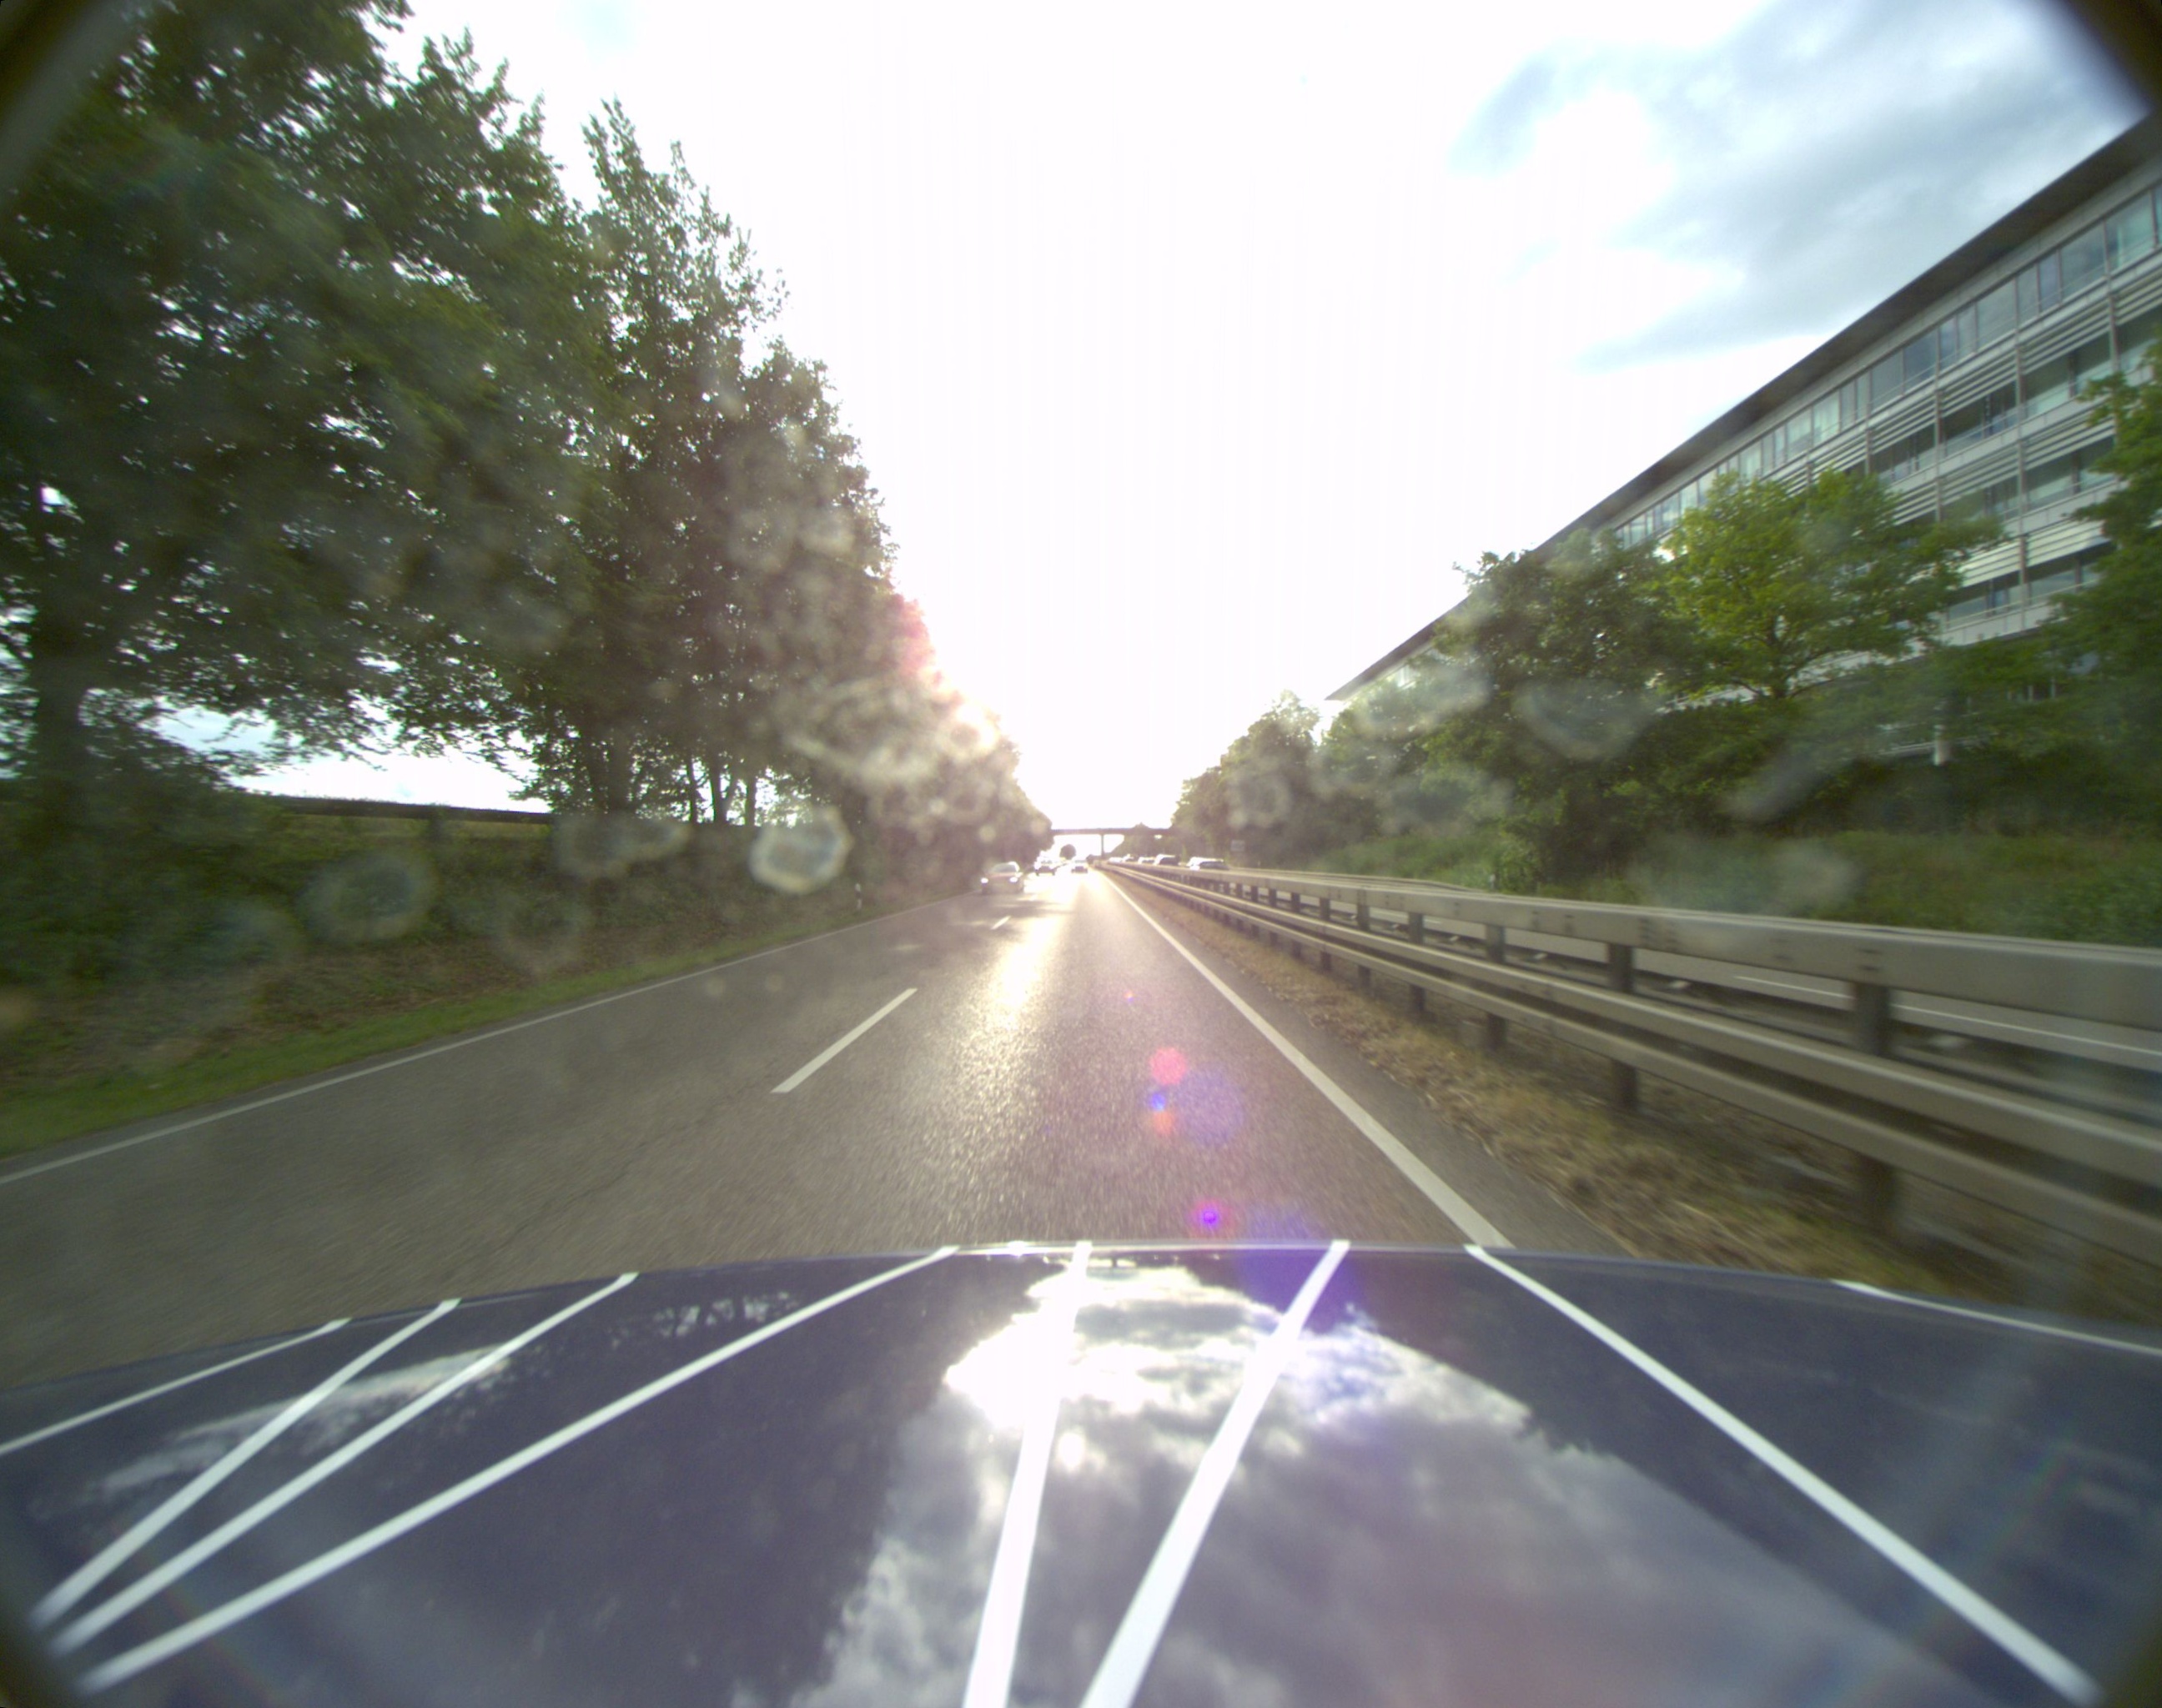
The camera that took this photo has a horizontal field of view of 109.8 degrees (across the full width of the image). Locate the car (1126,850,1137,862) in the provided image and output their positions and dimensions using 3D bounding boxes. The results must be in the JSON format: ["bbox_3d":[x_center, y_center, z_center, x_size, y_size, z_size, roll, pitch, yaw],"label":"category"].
[{"bbox_3d":[11.795,0.445,177.677,2.255,2.522,6.940,-1,0,0],"label":"car"}]

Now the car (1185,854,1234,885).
[{"bbox_3d":[6.522,0.772,38.952,1.747,1.449,4.311,1,0,0],"label":"car"}]

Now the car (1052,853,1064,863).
[{"bbox_3d":[-3.702,0.681,123.943,1.723,1.657,4.420,-2,-1,1],"label":"car"}]

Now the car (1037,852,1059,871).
[{"bbox_3d":[-3.122,0.725,72.998,1.723,1.657,4.420,-2,-1,1],"label":"car"}]

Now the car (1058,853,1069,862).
[{"bbox_3d":[-3.634,0.745,157.500,1.948,1.652,4.001,-2,-1,1],"label":"car"}]

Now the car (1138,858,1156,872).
[{"bbox_3d":[6.974,1.164,80.227,1.595,1.439,4.000,0,0,0],"label":"car"}]

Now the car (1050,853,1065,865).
[{"bbox_3d":[-2.848,0.598,92.712,1.558,1.346,3.408,-1,0,1],"label":"car"}]

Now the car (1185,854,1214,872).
[{"bbox_3d":[10.646,0.794,68.499,1.821,1.476,4.417,-2,0,0],"label":"car"}]

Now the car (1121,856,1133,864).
[{"bbox_3d":[7.851,1.075,130.197,1.680,1.344,3.831,-1,0,0],"label":"car"}]

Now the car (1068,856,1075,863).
[{"bbox_3d":[-2.744,1.684,224.999,1.998,2.002,4.000,-3,0,1],"label":"car"}]

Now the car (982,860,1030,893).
[{"bbox_3d":[-3.503,1.037,35.879,1.723,1.467,3.729,-1,-1,2],"label":"car"}]

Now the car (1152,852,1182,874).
[{"bbox_3d":[6.785,0.674,60.447,1.747,1.635,5.279,-1,0,0],"label":"car"}]

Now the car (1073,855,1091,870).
[{"bbox_3d":[0.131,0.875,79.533,1.723,1.493,4.420,-2,-1,1],"label":"car"}]

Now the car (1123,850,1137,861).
[{"bbox_3d":[7.343,0.220,113.194,1.825,1.574,4.316,-1,0,0],"label":"car"}]
